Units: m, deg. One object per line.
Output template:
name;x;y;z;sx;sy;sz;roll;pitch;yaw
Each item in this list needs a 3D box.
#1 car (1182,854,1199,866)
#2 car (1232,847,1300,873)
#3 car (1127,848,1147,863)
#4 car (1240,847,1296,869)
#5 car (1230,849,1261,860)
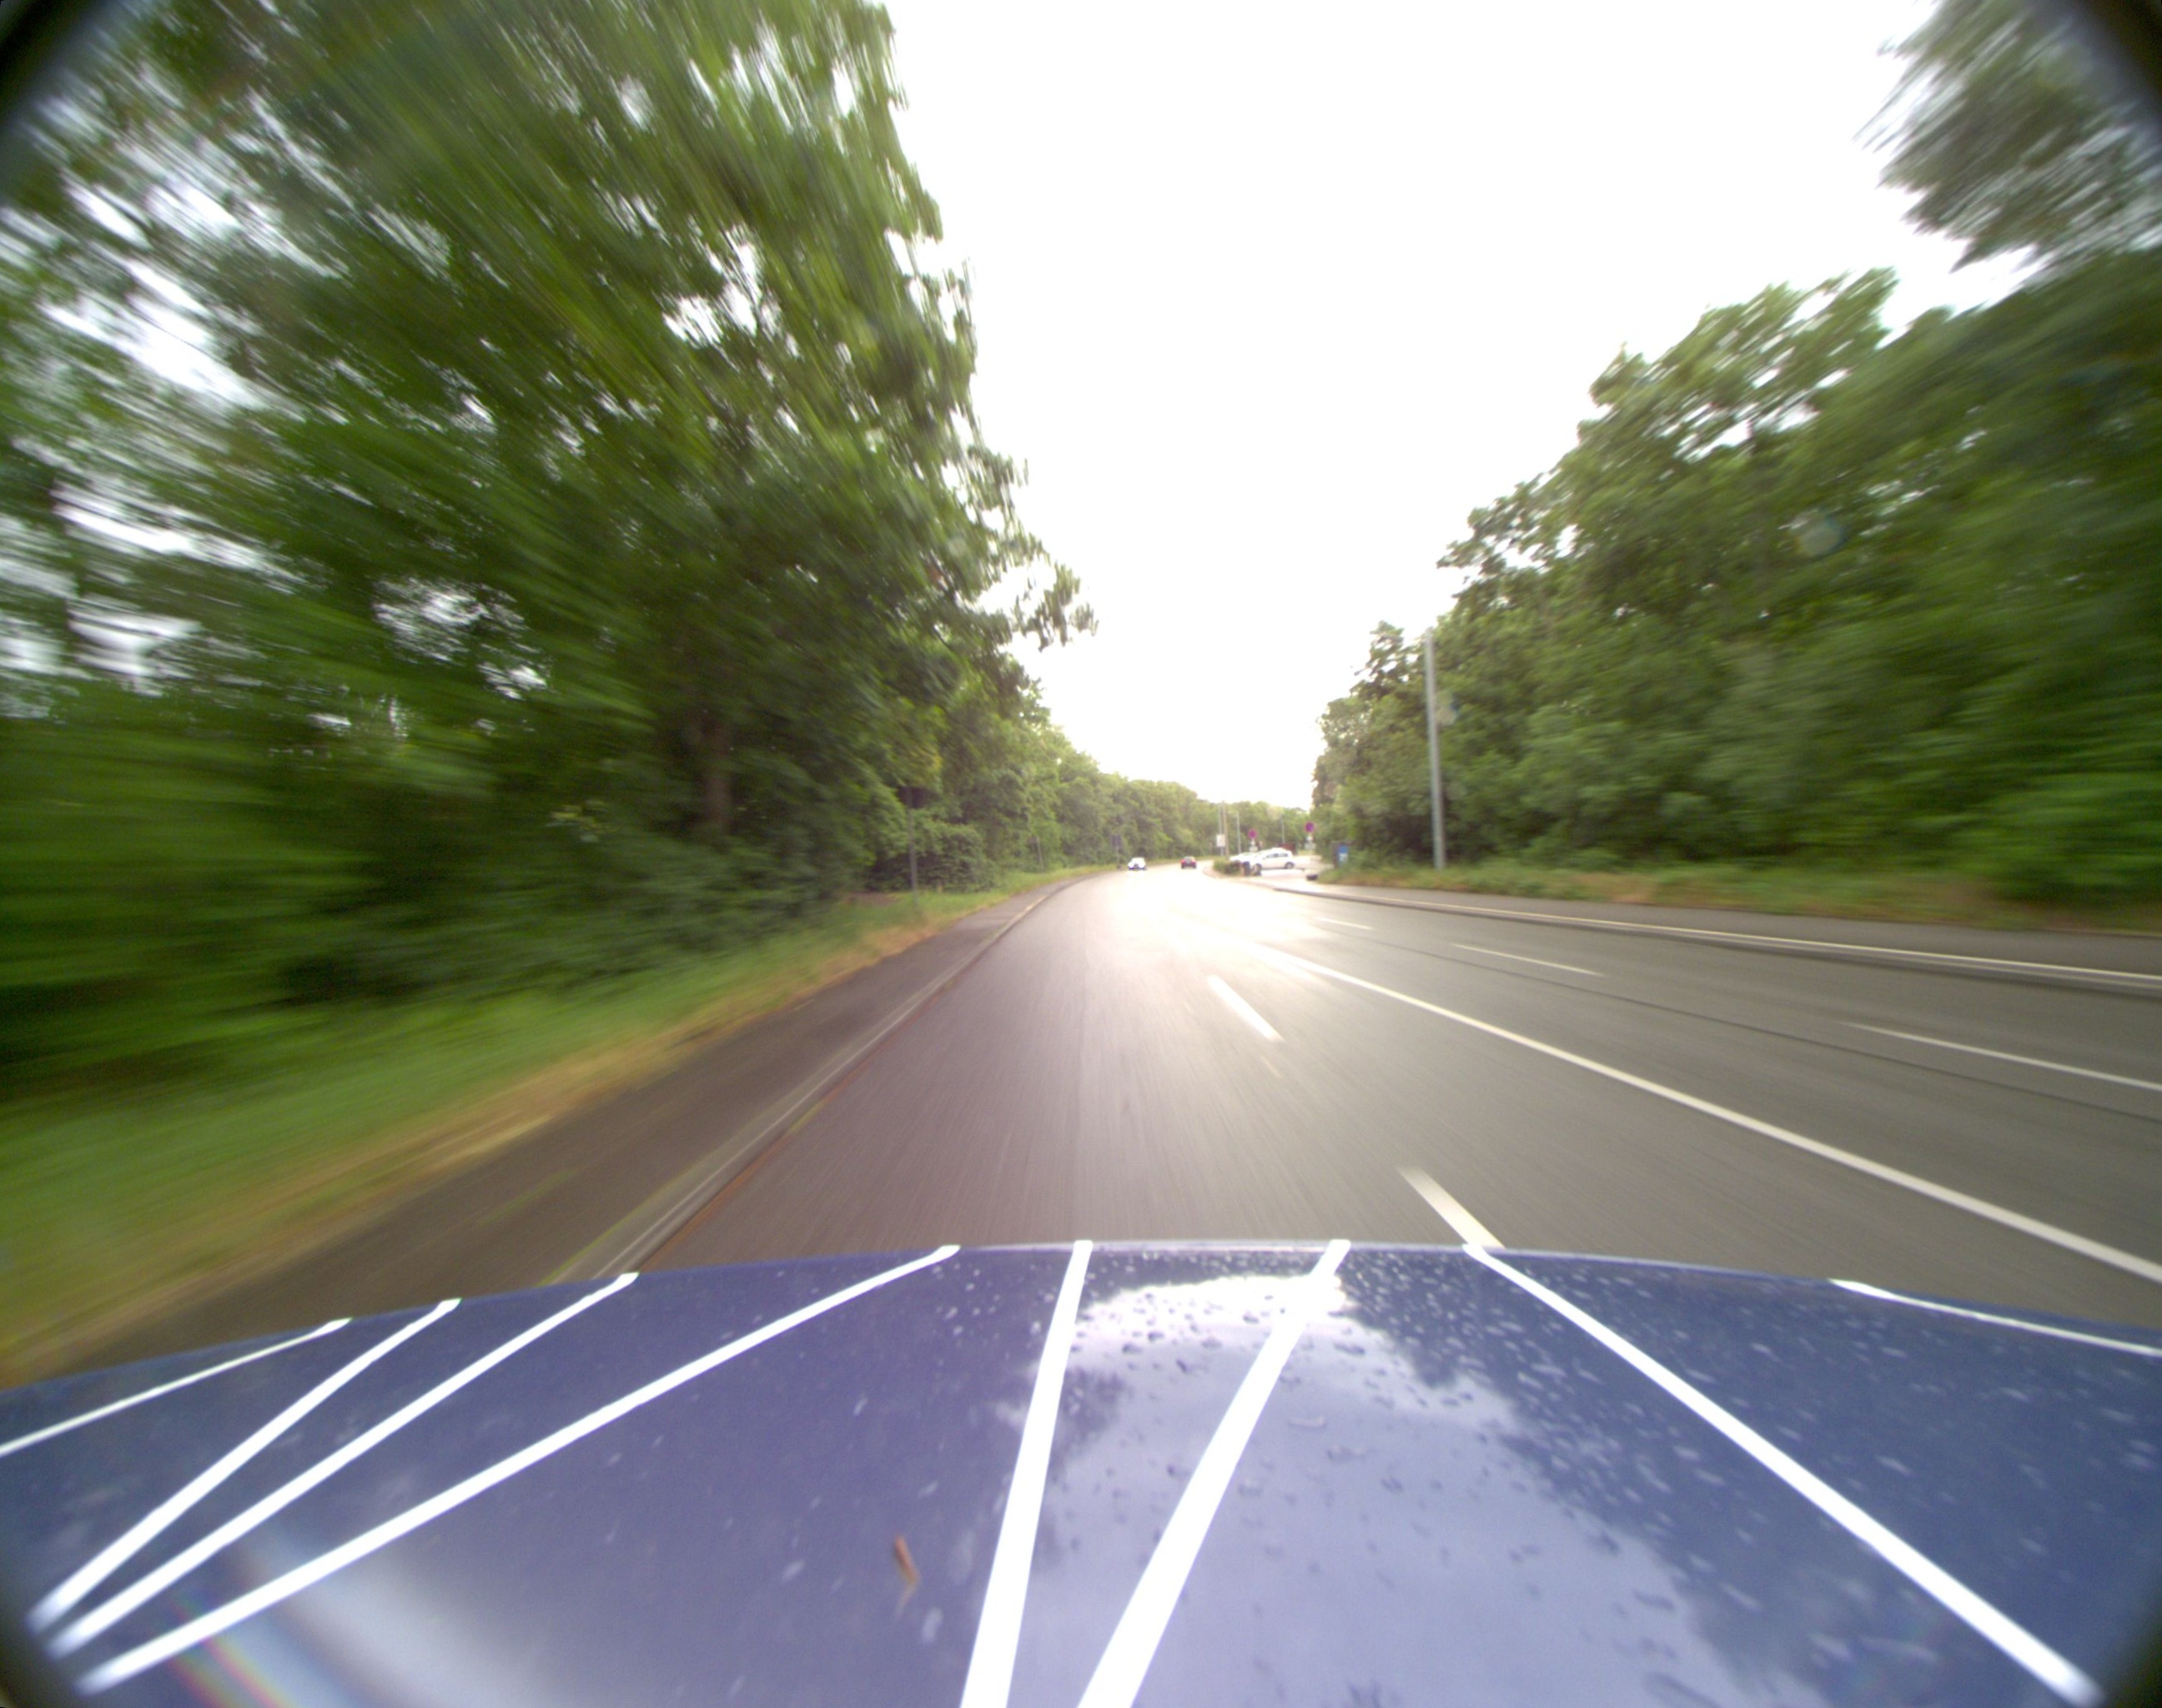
car;13.634;0.714;94.266;1.855;1.464;3.916;-1;0;12
car;14.251;0.445;58.738;4.751;1.707;1.895;-3;1;6
car;6.419;0.152;86.514;1.997;1.577;4.002;-1;1;9
car;15.783;0.345;64.253;4.378;1.592;1.757;-3;1;8
car;23.779;0.043;110.061;4.205;1.475;1.908;-1;0;6
